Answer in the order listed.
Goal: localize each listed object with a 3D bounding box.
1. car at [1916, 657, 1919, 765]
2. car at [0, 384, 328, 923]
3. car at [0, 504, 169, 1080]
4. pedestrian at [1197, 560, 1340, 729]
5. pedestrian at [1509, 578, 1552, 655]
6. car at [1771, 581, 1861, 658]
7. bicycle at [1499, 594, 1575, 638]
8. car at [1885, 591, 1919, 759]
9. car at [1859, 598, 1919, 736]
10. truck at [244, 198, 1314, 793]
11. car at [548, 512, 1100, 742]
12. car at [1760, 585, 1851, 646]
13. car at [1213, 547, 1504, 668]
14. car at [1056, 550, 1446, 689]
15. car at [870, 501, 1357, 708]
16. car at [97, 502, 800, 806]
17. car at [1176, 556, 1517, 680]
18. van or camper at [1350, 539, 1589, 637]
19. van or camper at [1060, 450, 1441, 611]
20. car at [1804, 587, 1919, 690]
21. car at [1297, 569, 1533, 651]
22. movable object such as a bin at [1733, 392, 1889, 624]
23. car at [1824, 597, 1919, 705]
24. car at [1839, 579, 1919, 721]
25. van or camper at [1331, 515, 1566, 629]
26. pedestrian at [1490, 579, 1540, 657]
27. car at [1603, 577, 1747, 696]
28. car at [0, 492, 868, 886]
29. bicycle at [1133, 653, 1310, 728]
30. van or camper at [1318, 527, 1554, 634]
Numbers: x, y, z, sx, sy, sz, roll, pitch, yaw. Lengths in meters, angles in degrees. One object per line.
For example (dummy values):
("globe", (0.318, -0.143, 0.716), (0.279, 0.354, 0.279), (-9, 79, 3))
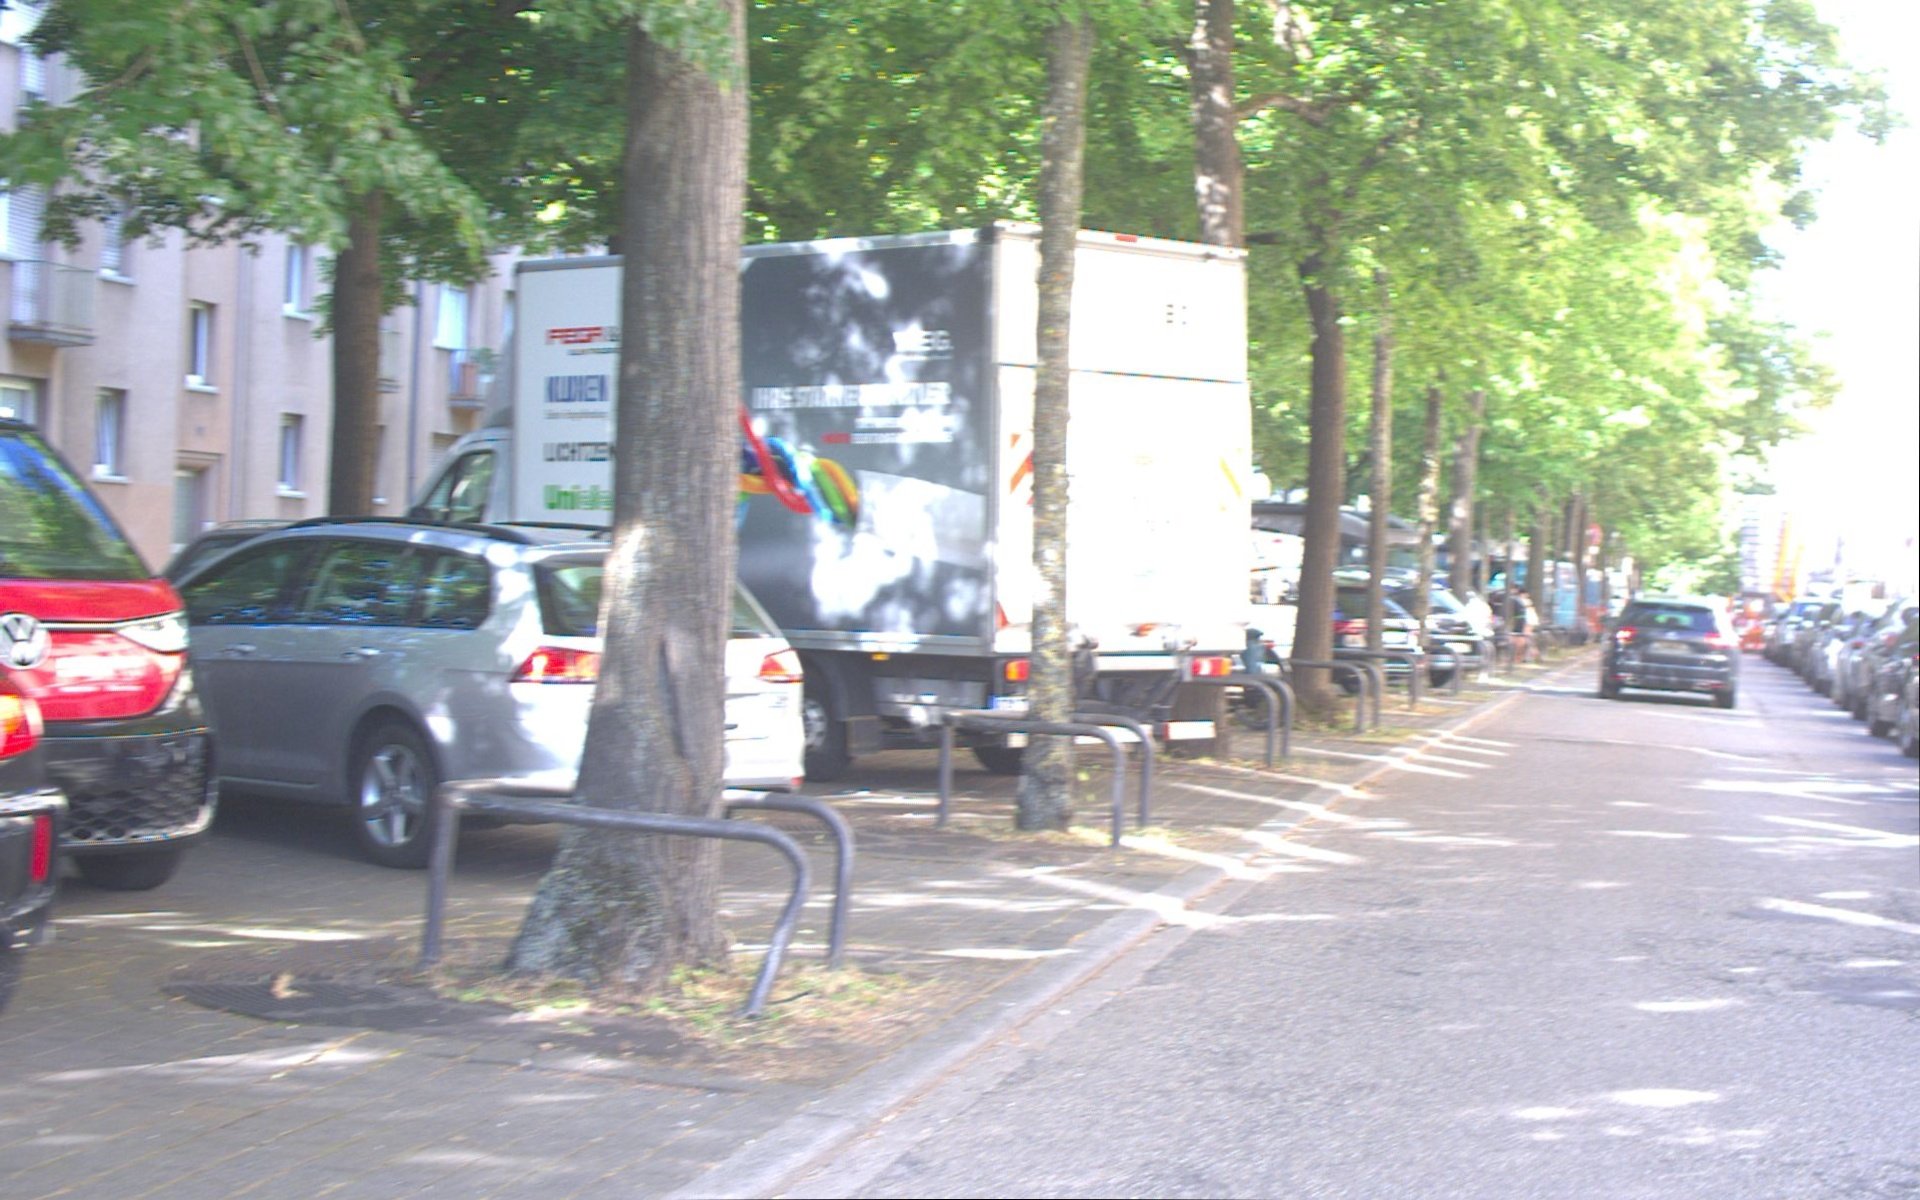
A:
("car", (8.591, 0.477, 26.611), (1.950, 1.894, 4.843), (2, 1, 12))
("car", (-4.643, 0.111, 13.757), (1.930, 1.867, 4.501), (2, 1, -44))
("car", (-4.149, 0.415, 9.739), (3.820, 1.476, 1.757), (3, 1, 41))
("pedestrian", (2.635, 0.376, 29.326), (0.753, 1.392, 0.926), (3, 1, 44))
("pedestrian", (11.018, 0.317, 66.384), (0.616, 1.451, 0.518), (2, 1, 35))
("car", (19.917, 0.431, 80.102), (1.817, 1.668, 4.671), (2, 1, 12))
("bicycle", (13.889, 0.394, 82.763), (1.719, 1.002, 0.512), (2, 0, -18))
("car", (9.707, 0.705, 32.201), (1.622, 1.493, 3.594), (2, 1, 10))
("car", (10.755, 0.715, 37.122), (1.549, 1.389, 3.860), (2, 1, 8))
("truck", (-1.428, -0.673, 22.394), (7.320, 3.282, 2.540), (2, 1, 44))
("car", (-1.085, 0.176, 25.949), (3.997, 1.497, 1.843), (3, 1, 44))
("car", (21.823, 0.382, 88.854), (1.994, 1.404, 4.499), (3, 1, 11))
("car", (6.135, 0.102, 53.128), (4.144, 1.673, 1.755), (3, 1, 41))
("car", (3.436, 0.215, 41.184), (4.487, 1.450, 1.783), (3, 1, 44))
("car", (1.531, 0.021, 35.129), (4.519, 1.858, 2.076), (3, 1, 37))
("car", (-3.073, 0.254, 19.992), (1.809, 1.502, 4.341), (2, 1, -44))
("car", (5.192, 0.230, 46.609), (4.421, 1.457, 1.711), (3, 0, 45))
("van or camper", (12.836, -0.316, 86.763), (5.510, 2.268, 2.216), (2, 1, 36))
("van or camper", (5.548, -1.379, 66.524), (7.242, 2.919, 2.308), (2, 1, 39))
("car", (14.549, 0.590, 54.916), (1.723, 1.523, 4.156), (2, 1, 10))
("car", (8.932, 0.194, 67.637), (4.325, 1.419, 1.671), (3, 1, 39))
("movable object such as a bin", (25.358, -2.750, 102.465), (3.488, 6.736, 2.362), (3, 1, 45))
("car", (13.451, 0.718, 49.486), (1.723, 1.427, 4.156), (2, 1, 12))
("car", (12.183, 0.613, 43.356), (1.723, 1.680, 4.156), (2, 1, 10))
("van or camper", (14.746, -0.874, 104.105), (6.672, 3.230, 2.489), (2, 1, 41))
("pedestrian", (10.640, 0.343, 65.875), (0.711, 1.451, 0.595), (2, 1, 35))
("car", (9.662, 0.464, 46.633), (1.798, 1.498, 3.584), (2, 1, 11))
("car", (-2.581, 0.323, 15.867), (1.809, 1.502, 4.341), (2, 1, -44))
("bicycle", (2.252, 0.774, 29.744), (1.613, 0.556, 0.408), (3, 1, 43))
("van or camper", (12.577, -0.534, 91.169), (5.882, 2.628, 2.249), (2, 1, 42))
